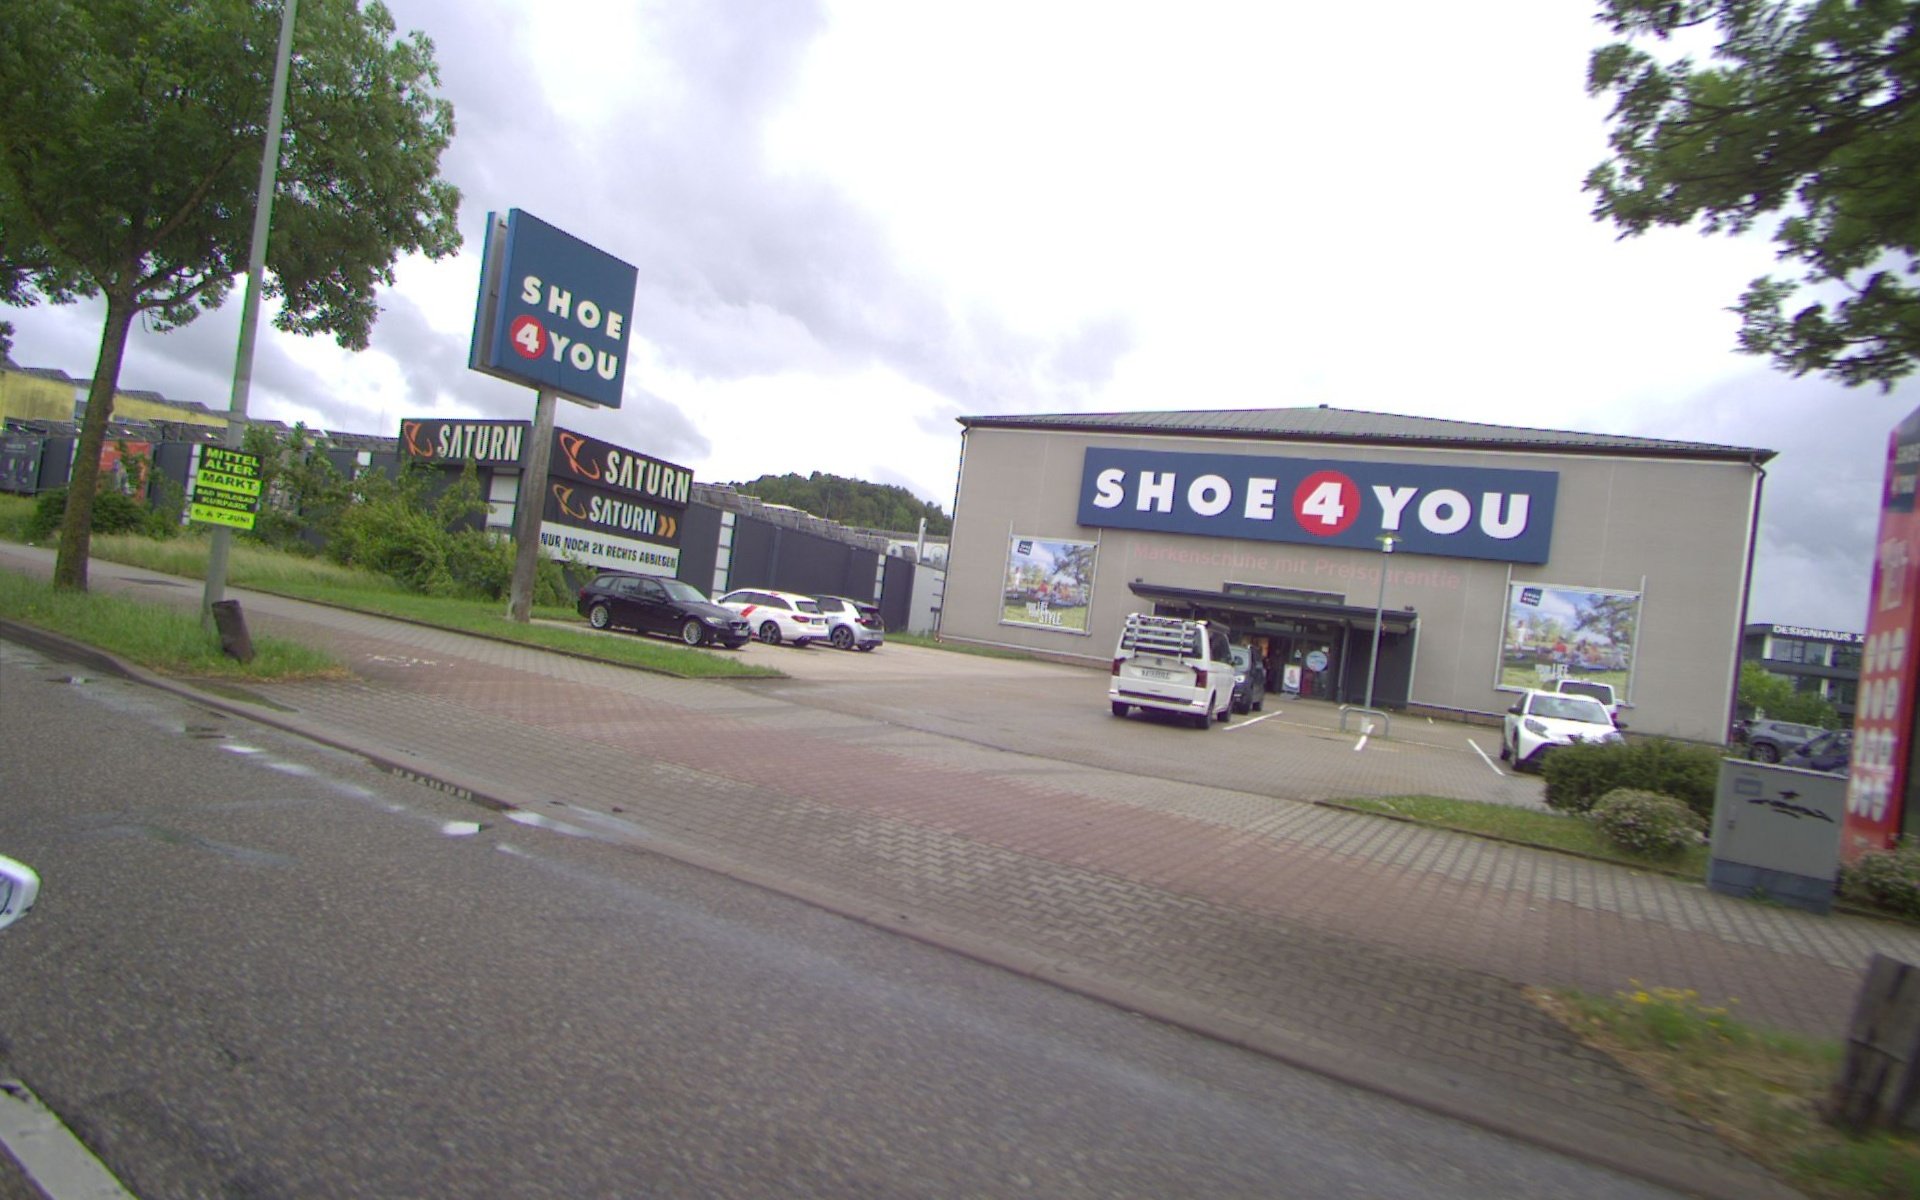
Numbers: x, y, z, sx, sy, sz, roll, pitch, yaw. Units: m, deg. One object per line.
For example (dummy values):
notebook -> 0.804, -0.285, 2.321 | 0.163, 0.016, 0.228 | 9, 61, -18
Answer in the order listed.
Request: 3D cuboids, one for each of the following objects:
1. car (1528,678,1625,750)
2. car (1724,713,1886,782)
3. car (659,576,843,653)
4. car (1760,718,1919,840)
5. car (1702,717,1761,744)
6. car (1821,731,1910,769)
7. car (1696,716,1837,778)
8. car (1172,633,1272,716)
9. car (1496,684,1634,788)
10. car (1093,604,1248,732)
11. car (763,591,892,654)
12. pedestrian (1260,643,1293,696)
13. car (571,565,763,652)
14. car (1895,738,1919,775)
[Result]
car -> 19.613, 3.581, 32.180 | 1.901, 1.882, 4.257 | 7, -1, 24
car -> 29.667, 5.147, 35.469 | 3.930, 1.686, 1.672 | 7, -1, 27
car -> -6.035, 0.419, 29.035 | 4.862, 1.486, 1.886 | 8, 0, 23
car -> 14.934, 2.900, 16.530 | 1.728, 1.532, 3.999 | 7, -1, 25
car -> 59.530, 10.085, 77.660 | 3.155, 1.508, 1.431 | 7, 0, 10
car -> 55.403, 9.164, 61.580 | 3.623, 1.620, 1.622 | 7, -1, 10
car -> 31.749, 5.743, 39.745 | 3.930, 1.686, 1.672 | 7, -1, 27
car -> 6.887, 1.928, 26.111 | 1.711, 1.750, 4.257 | 7, -1, 24
car -> 11.492, 2.514, 19.338 | 1.646, 1.532, 3.650 | 7, -1, 24
car -> 4.355, 1.360, 20.162 | 1.954, 2.038, 4.836 | 7, -1, 23
car -> -4.111, 0.695, 31.186 | 3.522, 1.458, 1.585 | 7, 0, 23
pedestrian -> 12.173, 2.657, 38.711 | 0.913, 1.908, 0.771 | 7, 0, 14
car -> -6.965, 0.199, 23.872 | 4.188, 1.445, 1.583 | 8, 0, 23
car -> 53.246, 8.690, 54.285 | 3.623, 1.821, 1.622 | 7, 0, 10
